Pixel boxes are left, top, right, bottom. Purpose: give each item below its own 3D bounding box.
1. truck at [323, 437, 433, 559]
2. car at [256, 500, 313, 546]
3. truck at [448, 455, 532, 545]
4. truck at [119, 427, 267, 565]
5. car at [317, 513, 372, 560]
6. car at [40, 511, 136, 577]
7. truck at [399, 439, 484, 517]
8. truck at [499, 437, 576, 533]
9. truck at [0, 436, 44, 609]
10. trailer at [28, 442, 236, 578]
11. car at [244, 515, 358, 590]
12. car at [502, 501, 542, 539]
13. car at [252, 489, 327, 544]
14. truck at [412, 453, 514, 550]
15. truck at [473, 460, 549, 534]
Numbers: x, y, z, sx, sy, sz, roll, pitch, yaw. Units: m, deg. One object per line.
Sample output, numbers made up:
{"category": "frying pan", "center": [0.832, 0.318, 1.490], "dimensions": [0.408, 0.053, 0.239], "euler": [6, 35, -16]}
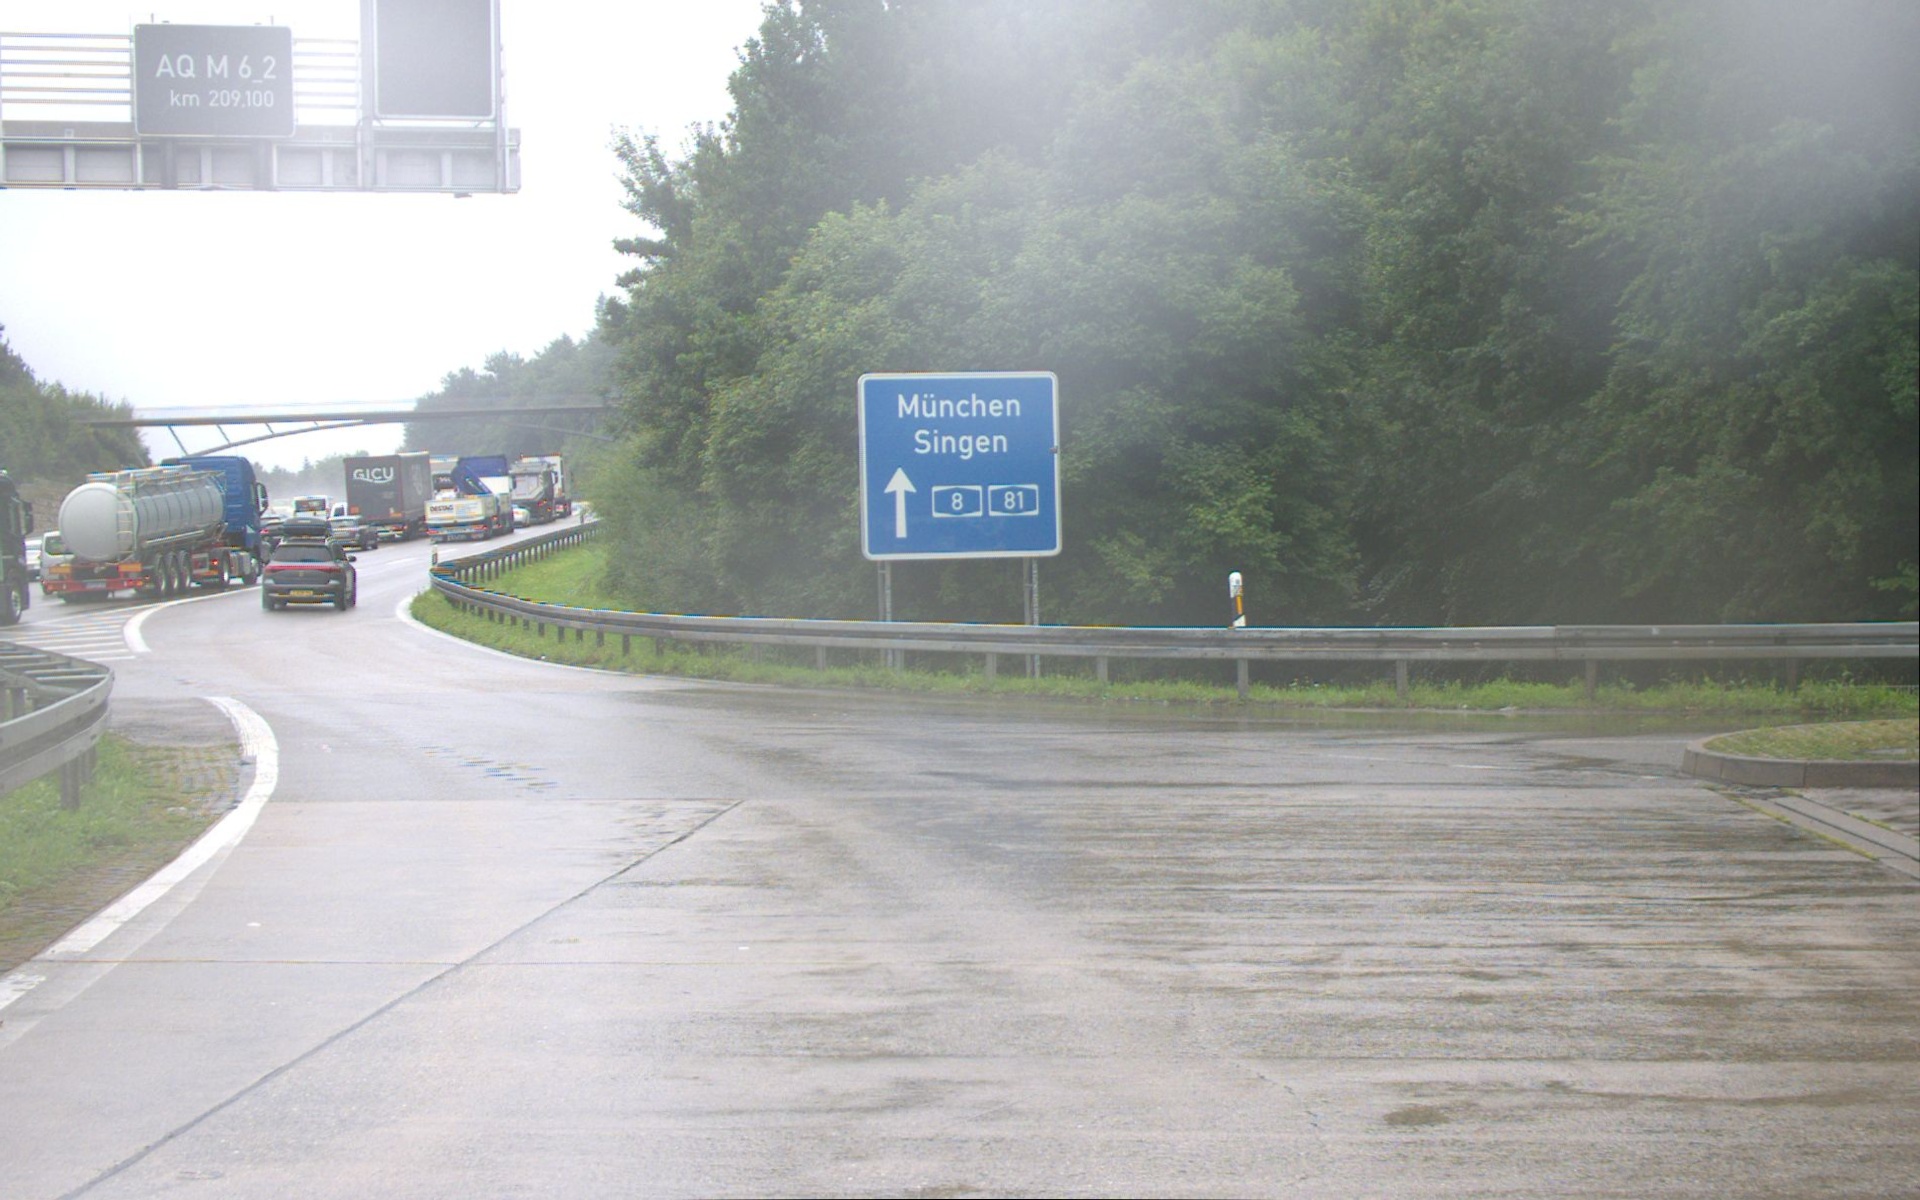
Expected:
{"category": "truck", "center": [-27.350, -4.715, 161.999], "dimensions": [3.754, 5.480, 10.174], "euler": [1, 1, -2]}
{"category": "car", "center": [-29.295, -3.344, 149.150], "dimensions": [1.797, 1.897, 4.001], "euler": [-2, 1, -3]}
{"category": "truck", "center": [-23.411, -4.919, 171.874], "dimensions": [3.506, 4.253, 10.605], "euler": [1, 1, -5]}
{"category": "truck", "center": [-21.639, -2.970, 97.227], "dimensions": [2.877, 3.680, 5.057], "euler": [-2, 2, 0]}
{"category": "car", "center": [-25.395, -2.623, 141.991], "dimensions": [1.797, 1.897, 4.001], "euler": [1, 1, -4]}
{"category": "car", "center": [-25.032, -1.624, 98.795], "dimensions": [1.819, 1.760, 4.001], "euler": [-2, 2, -2]}
{"category": "truck", "center": [-29.828, -6.980, 198.230], "dimensions": [3.576, 4.081, 10.881], "euler": [-2, 1, -3]}
{"category": "truck", "center": [-26.397, -7.140, 215.358], "dimensions": [4.335, 5.744, 9.732], "euler": [1, 1, -5]}
{"category": "truck", "center": [-21.324, -1.428, 68.208], "dimensions": [2.831, 3.576, 11.799], "euler": [-3, 2, 1]}
{"category": "trailer", "center": [-21.637, -2.459, 90.491], "dimensions": [2.873, 3.277, 10.079], "euler": [-2, 2, 0]}
{"category": "car", "center": [-14.951, -1.080, 78.217], "dimensions": [1.993, 1.630, 4.001], "euler": [1, 1, -3]}
{"category": "car", "center": [-23.295, -4.256, 182.839], "dimensions": [1.797, 1.897, 4.001], "euler": [-2, 1, -4]}
{"category": "car", "center": [-38.466, -4.774, 197.522], "dimensions": [3.246, 2.992, 6.774], "euler": [1, 1, -3]}
{"category": "truck", "center": [-22.481, -4.534, 156.059], "dimensions": [3.599, 4.090, 11.563], "euler": [-3, 2, -4]}
{"category": "truck", "center": [-25.548, -5.817, 195.884], "dimensions": [3.754, 3.957, 11.061], "euler": [1, 1, -5]}
